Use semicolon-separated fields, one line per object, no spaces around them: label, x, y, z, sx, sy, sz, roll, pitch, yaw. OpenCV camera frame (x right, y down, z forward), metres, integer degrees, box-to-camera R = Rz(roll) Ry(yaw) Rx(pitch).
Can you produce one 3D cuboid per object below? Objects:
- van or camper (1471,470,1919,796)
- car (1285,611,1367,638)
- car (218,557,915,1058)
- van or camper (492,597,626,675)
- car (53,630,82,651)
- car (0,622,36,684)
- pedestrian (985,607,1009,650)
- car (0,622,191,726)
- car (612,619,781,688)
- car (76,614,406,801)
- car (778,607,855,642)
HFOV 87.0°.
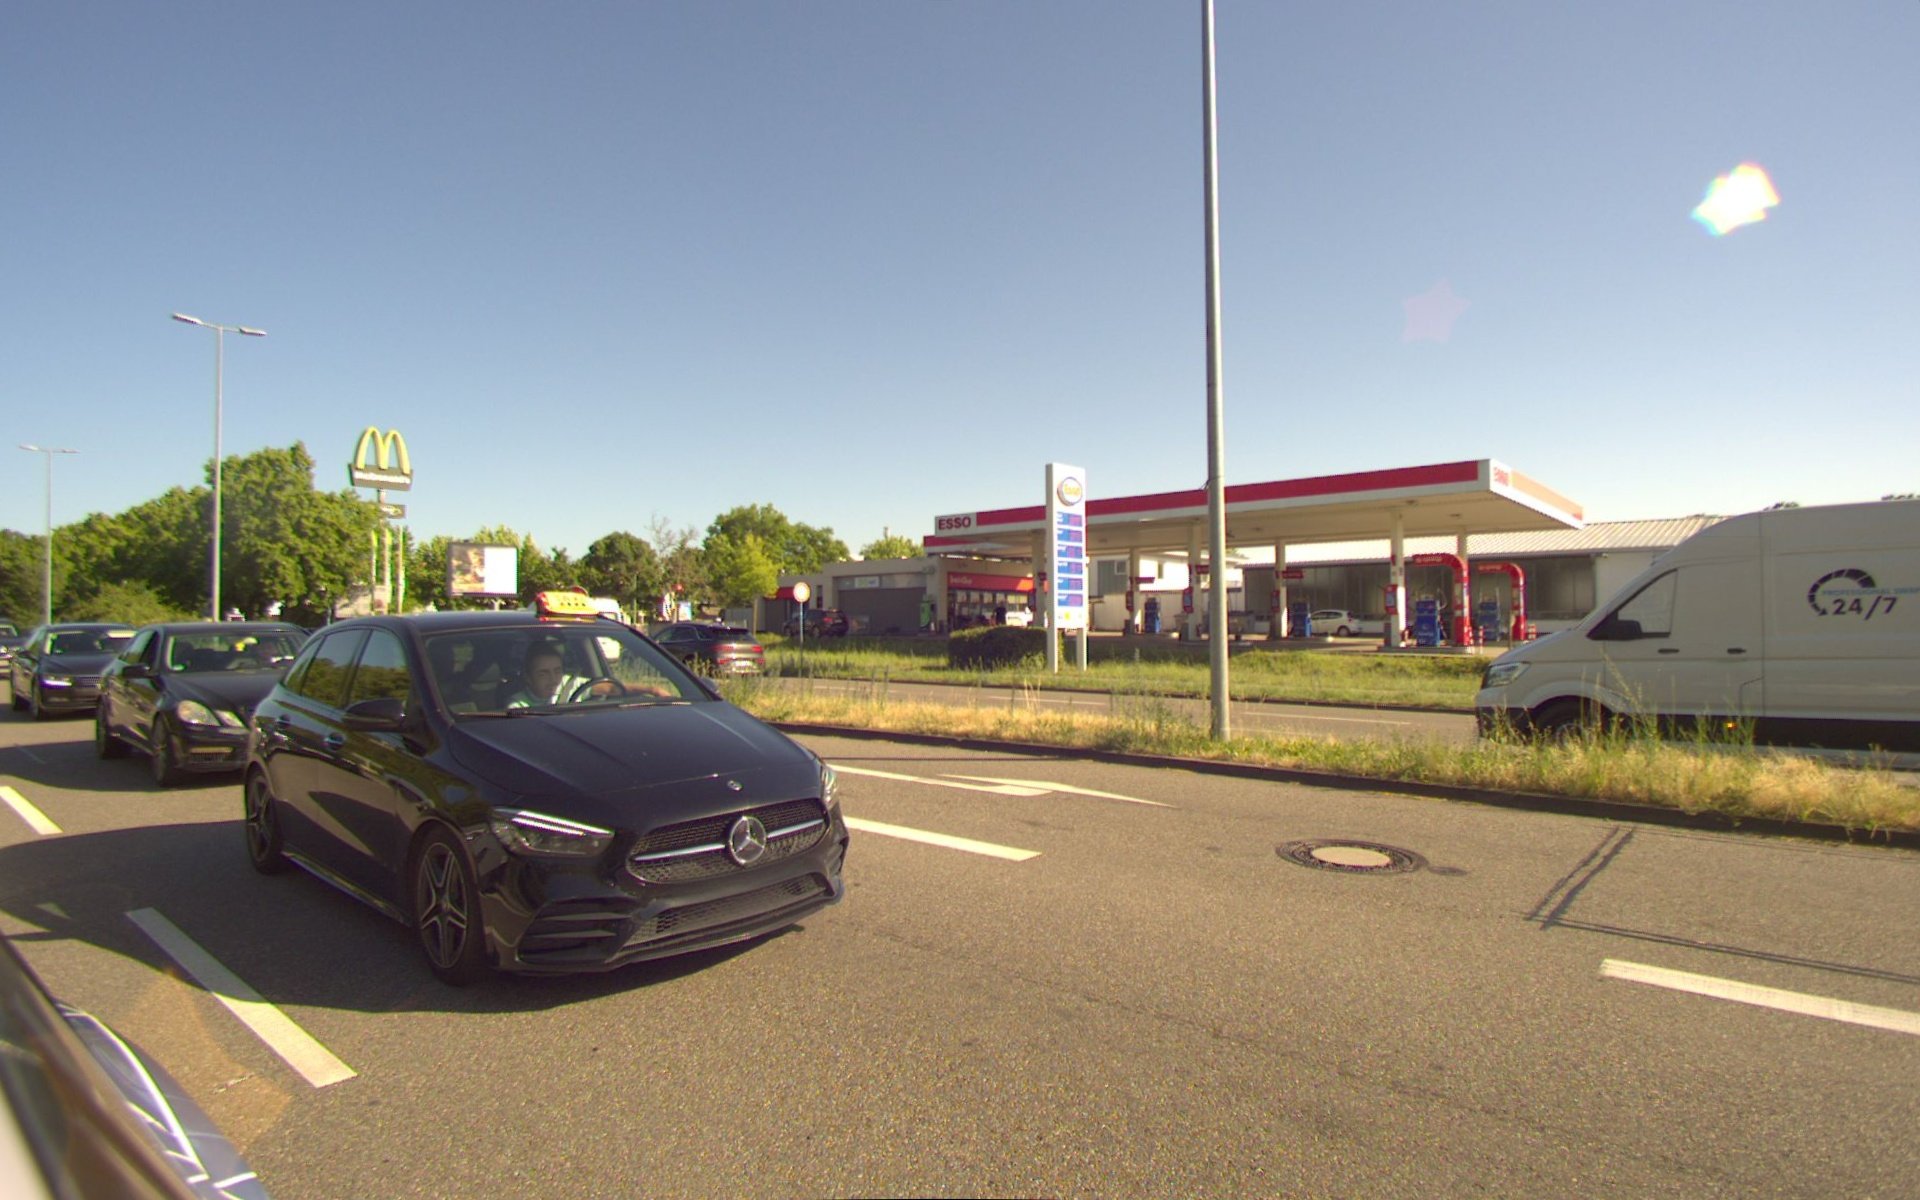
van or camper;8.420;0.264;8.796;6.750;2.592;2.155;-2;-2;41
car;19.829;1.325;54.883;3.844;1.450;1.730;-2;-2;39
car;-2.354;0.733;5.400;4.187;1.638;1.780;-2;-2;42
van or camper;-14.935;1.343;37.516;5.952;2.671;1.973;-1;-4;40
car;-91.218;4.097;103.411;1.970;2.029;4.003;-1;0;-44
car;-26.716;1.422;27.531;4.401;1.600;1.838;-2;-2;41
pedestrian;1.738;1.333;47.627;0.840;2.029;0.694;-2;-2;41
car;-14.430;1.127;16.774;4.401;1.492;1.838;-2;-2;41
car;-7.037;1.403;26.783;4.609;1.666;1.973;-2;-4;40
car;-7.591;0.944;10.516;4.401;1.535;1.838;-2;-2;41
car;-7.843;1.322;55.043;4.117;1.783;1.972;-2;-1;43
